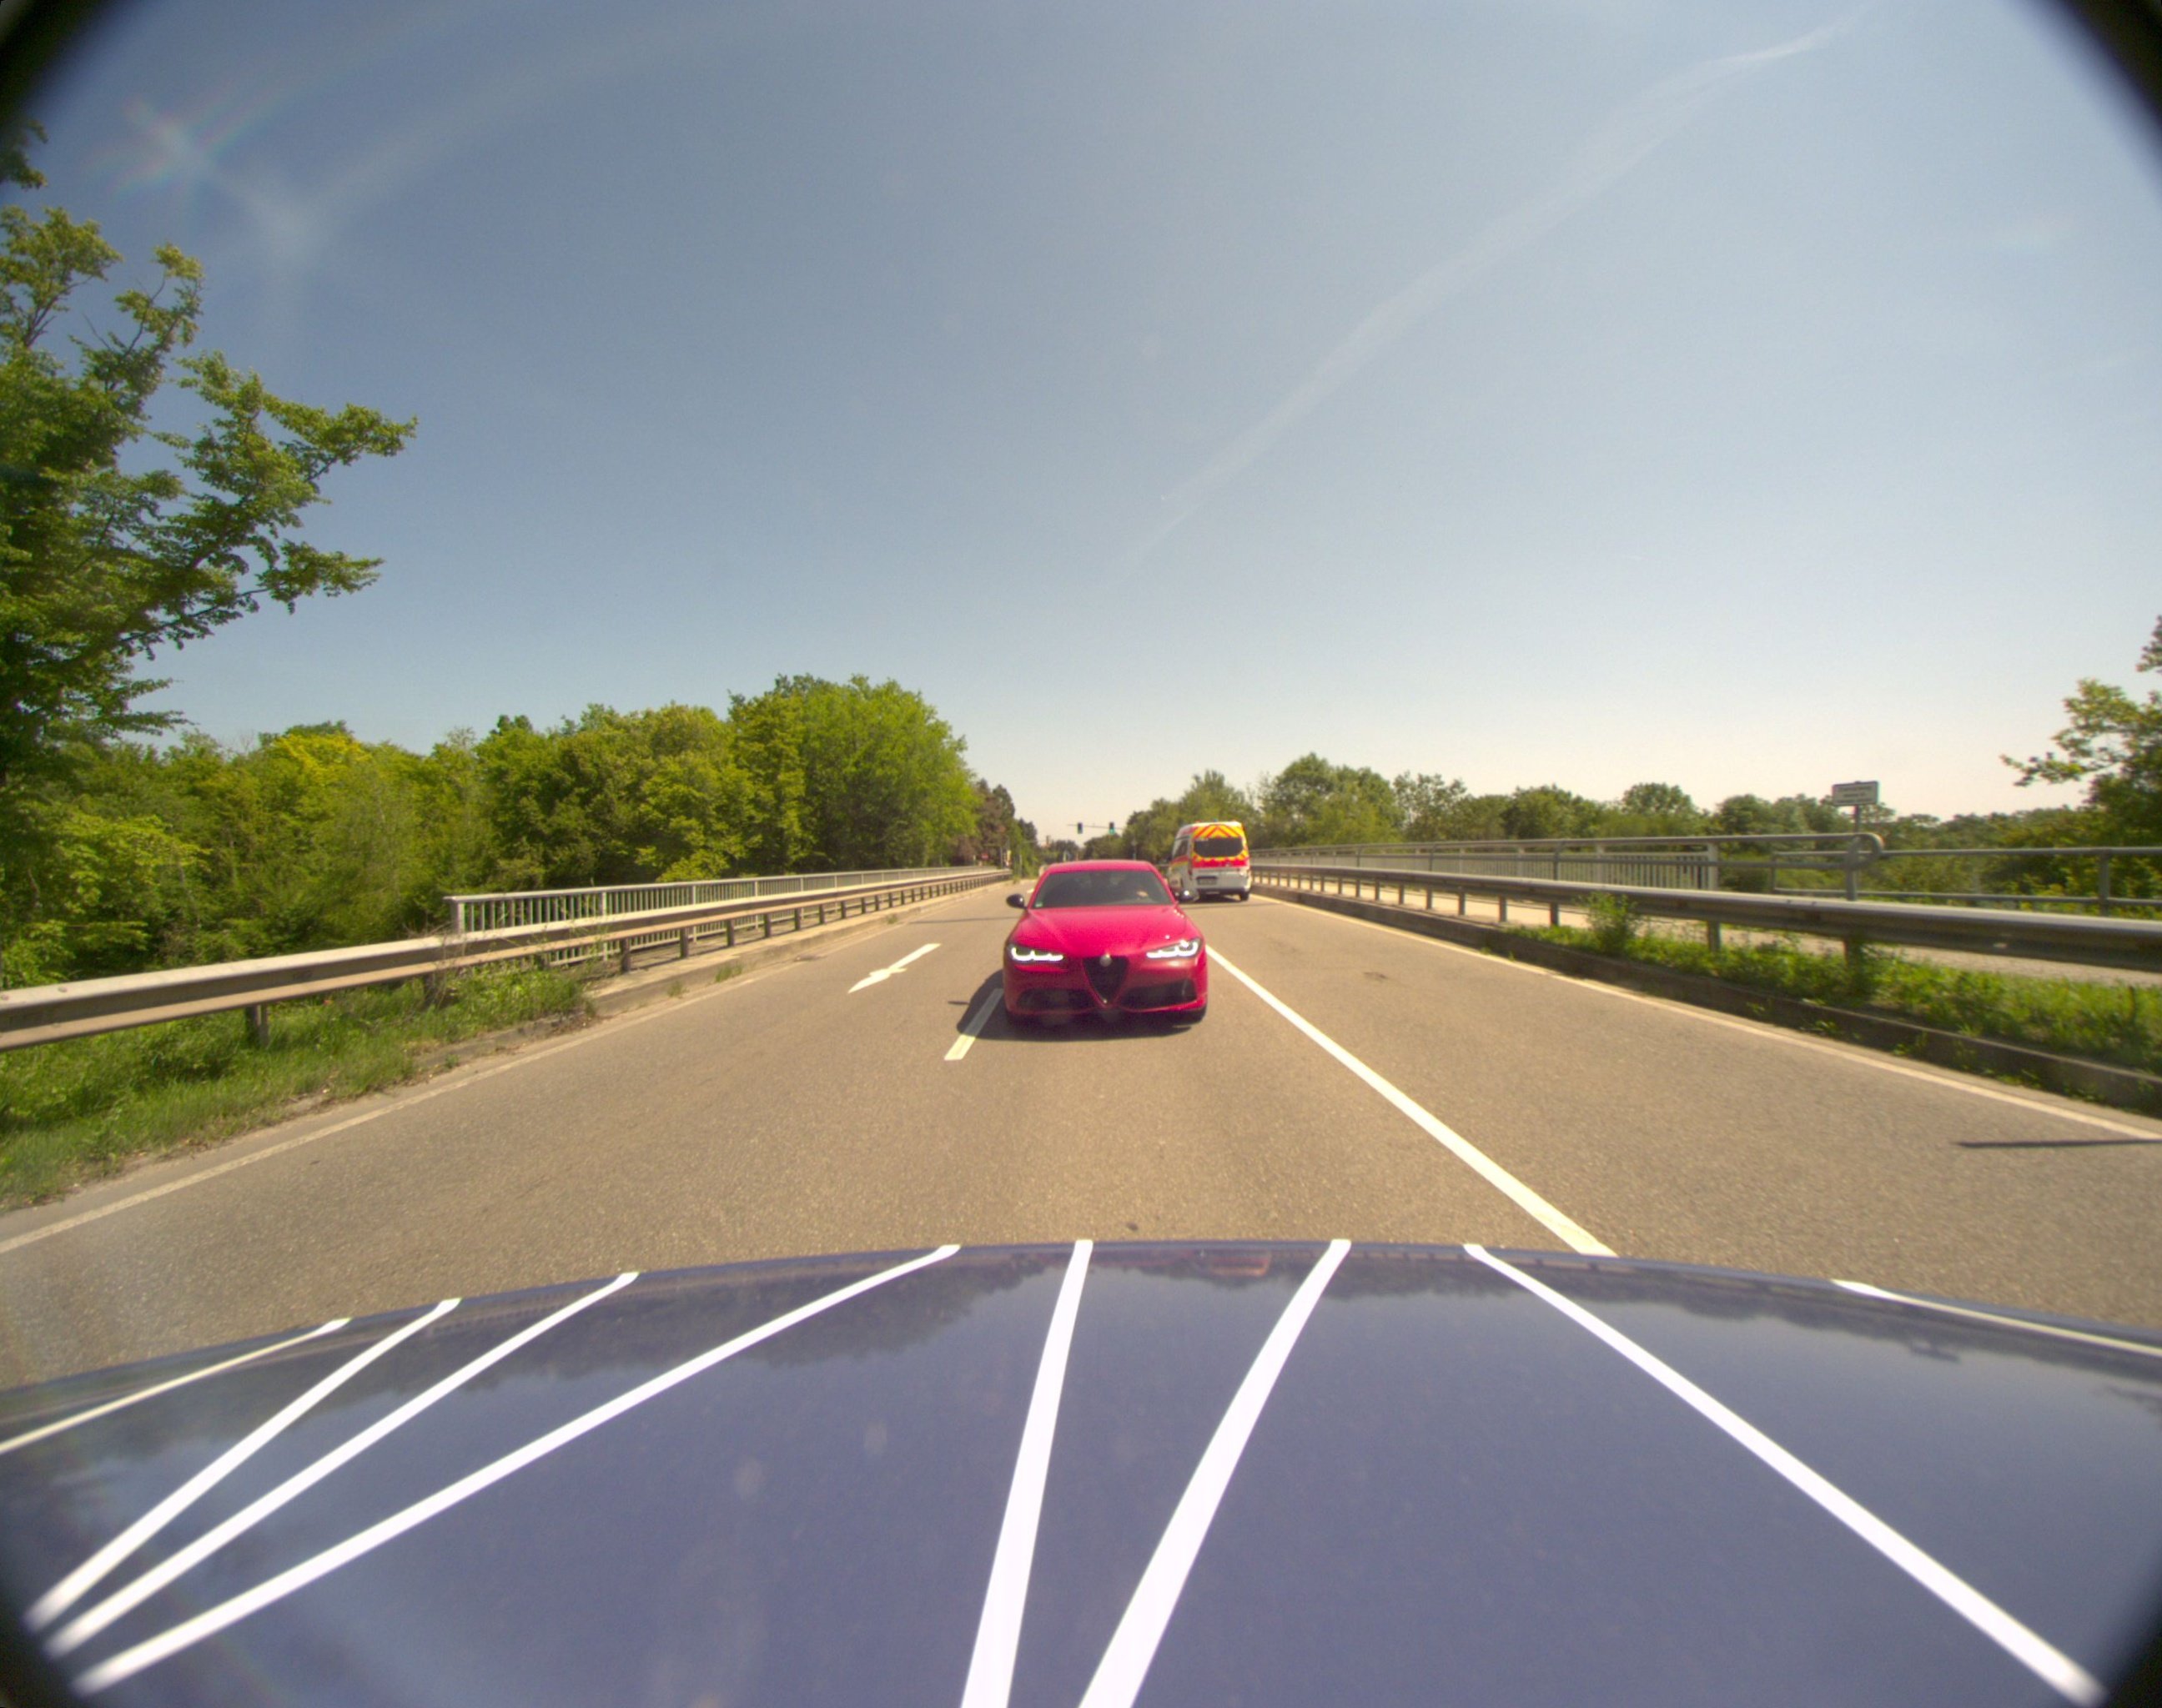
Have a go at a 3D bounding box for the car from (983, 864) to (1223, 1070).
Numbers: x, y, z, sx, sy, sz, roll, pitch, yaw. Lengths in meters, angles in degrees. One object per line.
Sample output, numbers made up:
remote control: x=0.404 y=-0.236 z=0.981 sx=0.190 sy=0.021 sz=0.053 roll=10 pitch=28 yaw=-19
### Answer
car: x=0.195 y=0.899 z=7.956 sx=1.800 sy=1.448 sz=4.284 roll=-1 pitch=0 yaw=1

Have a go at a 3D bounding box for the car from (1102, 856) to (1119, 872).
car: x=3.463 y=1.150 z=90.291 sx=1.848 sy=1.758 sz=4.000 roll=-2 pitch=0 yaw=1

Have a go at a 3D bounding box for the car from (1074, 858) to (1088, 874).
car: x=0.051 y=1.440 z=91.984 sx=1.633 sy=1.667 sz=3.489 roll=-2 pitch=1 yaw=0

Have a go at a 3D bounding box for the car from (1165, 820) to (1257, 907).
car: x=3.905 y=0.242 z=23.736 sx=1.995 sy=2.354 sz=5.181 roll=-2 pitch=0 yaw=1

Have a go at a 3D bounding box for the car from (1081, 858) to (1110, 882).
car: x=0.968 y=1.004 z=50.526 sx=1.800 sy=1.448 sz=3.706 roll=-1 pitch=0 yaw=2

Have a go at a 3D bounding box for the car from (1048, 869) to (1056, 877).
car: x=-5.758 y=3.782 z=150.885 sx=1.416 sy=1.499 sz=3.316 roll=-1 pitch=1 yaw=0
